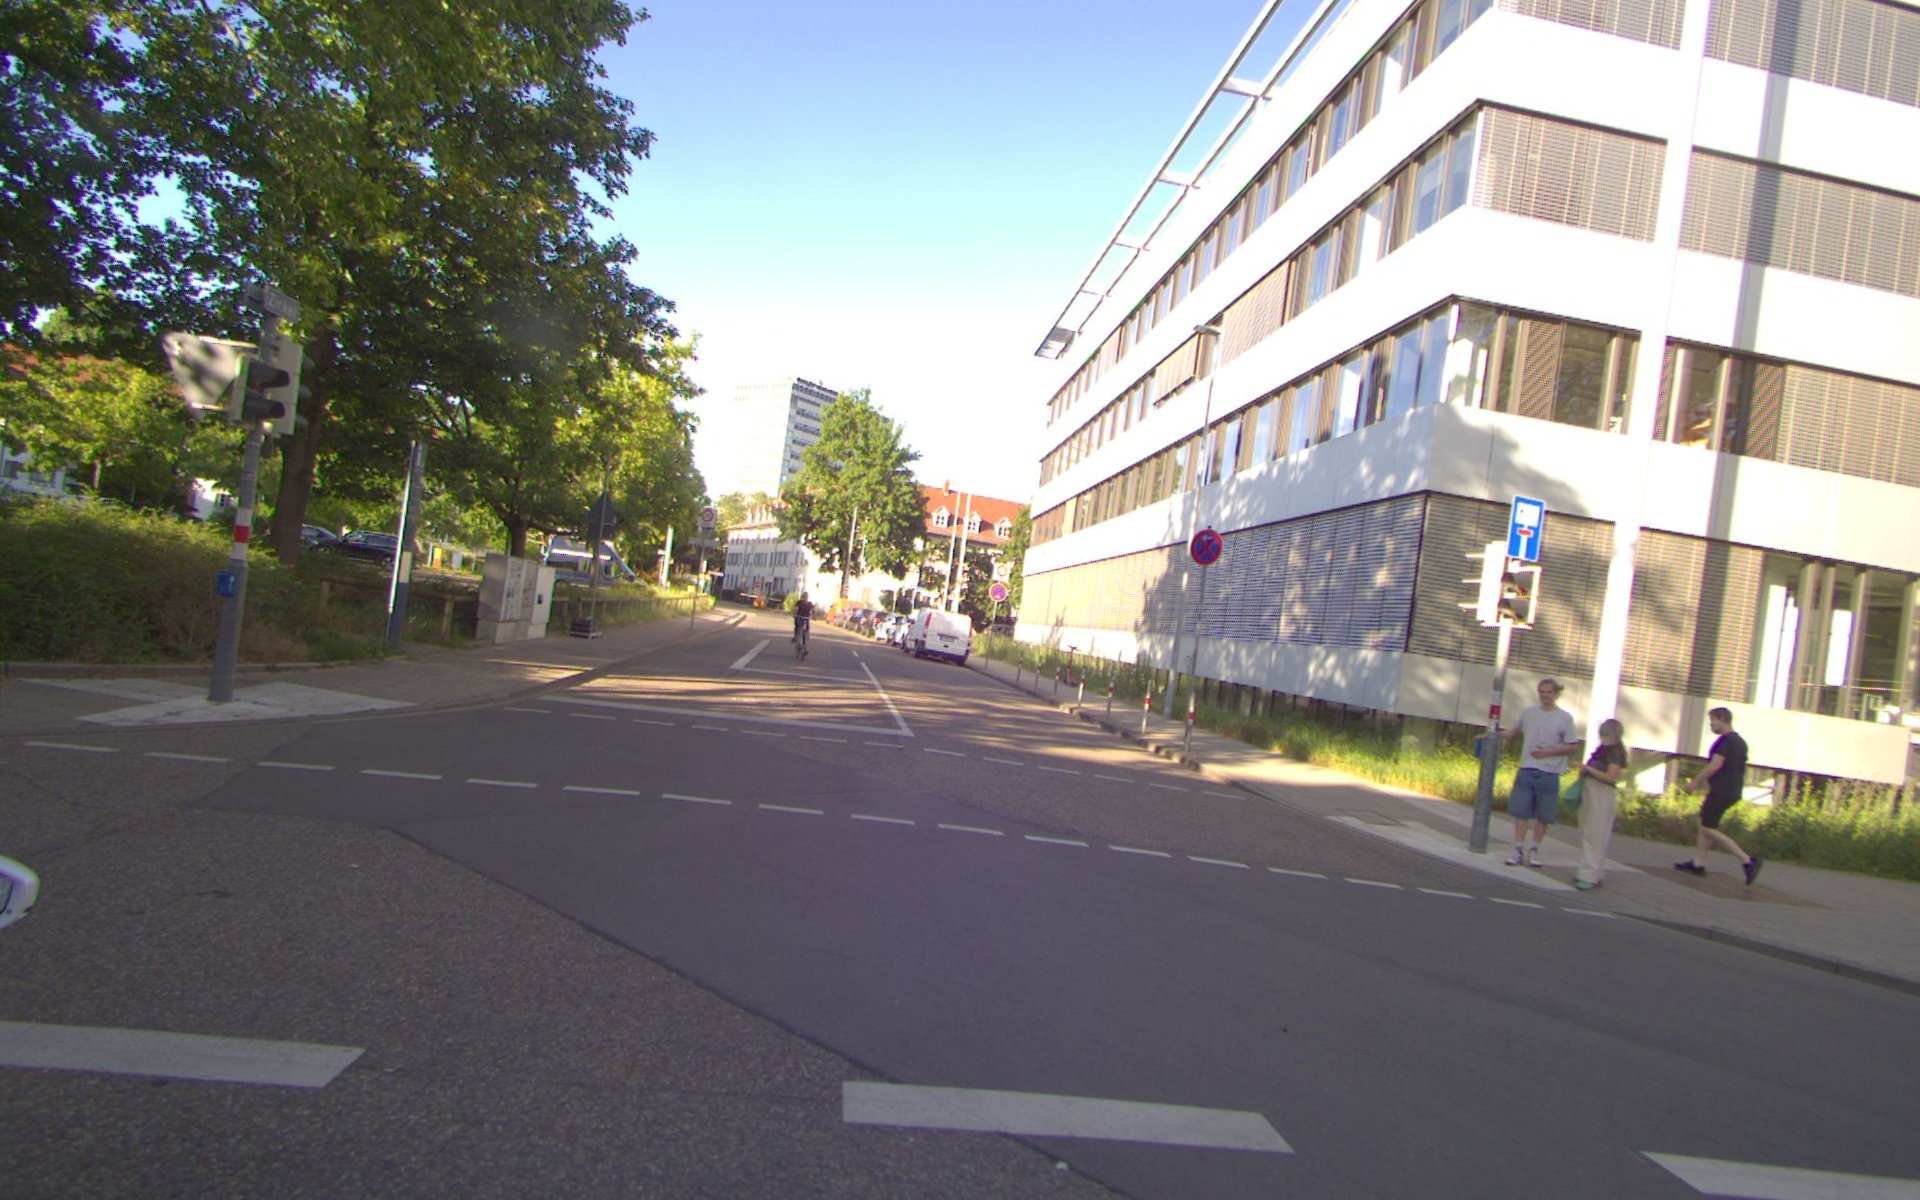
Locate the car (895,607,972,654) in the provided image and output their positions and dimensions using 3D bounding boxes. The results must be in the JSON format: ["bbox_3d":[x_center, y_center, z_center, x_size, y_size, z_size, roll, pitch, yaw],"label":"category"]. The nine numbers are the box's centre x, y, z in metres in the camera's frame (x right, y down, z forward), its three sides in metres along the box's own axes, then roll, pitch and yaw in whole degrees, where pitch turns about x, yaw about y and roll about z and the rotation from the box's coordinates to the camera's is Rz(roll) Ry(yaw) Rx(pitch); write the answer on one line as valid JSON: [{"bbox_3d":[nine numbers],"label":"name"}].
[{"bbox_3d":[-1.979,2.259,75.089,5.050,2.651,1.990,9,1,-20],"label":"car"}]

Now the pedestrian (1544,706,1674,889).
[{"bbox_3d":[6.044,1.821,9.391,0.553,1.542,0.671,8,0,-18],"label":"pedestrian"}]

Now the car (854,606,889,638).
[{"bbox_3d":[-5.027,1.187,56.722,1.603,1.502,3.845,8,-1,-8],"label":"car"}]

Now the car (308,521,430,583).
[{"bbox_3d":[-27.109,-2.154,46.270,4.238,2.113,1.786,8,-1,-8],"label":"car"}]

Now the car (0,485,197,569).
[{"bbox_3d":[-26.822,-2.237,31.445,4.238,1.833,1.786,8,-1,-8],"label":"car"}]

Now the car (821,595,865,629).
[{"bbox_3d":[-7.958,0.777,68.184,2.059,1.809,4.894,8,1,-15],"label":"car"}]

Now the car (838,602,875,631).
[{"bbox_3d":[-6.507,1.001,62.963,1.605,1.508,3.592,8,-1,-15],"label":"car"}]

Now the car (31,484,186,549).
[{"bbox_3d":[-32.291,-3.128,38.277,3.931,1.644,1.924,9,-2,-6],"label":"car"}]

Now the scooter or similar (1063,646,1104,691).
[{"bbox_3d":[3.745,2.067,30.554,0.688,1.193,1.555,8,-1,-9],"label":"scooter or similar"}]

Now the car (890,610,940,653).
[{"bbox_3d":[-1.979,1.302,43.100,1.603,1.502,3.845,8,-1,-8],"label":"car"}]

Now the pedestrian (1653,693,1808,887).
[{"bbox_3d":[8.021,1.947,10.492,0.601,1.792,0.985,8,0,-37],"label":"pedestrian"}]

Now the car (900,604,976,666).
[{"bbox_3d":[-0.897,1.229,37.335,2.074,1.850,4.714,8,-1,-8],"label":"car"}]

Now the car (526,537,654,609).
[{"bbox_3d":[-17.356,-1.219,47.454,5.072,2.603,1.997,8,0,-8],"label":"car"}]

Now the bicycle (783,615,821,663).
[{"bbox_3d":[-3.985,0.965,25.282,0.707,1.029,2.019,7,-1,-12],"label":"bicycle"}]

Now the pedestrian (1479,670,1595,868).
[{"bbox_3d":[5.809,1.686,10.151,0.562,1.861,0.601,8,0,-22],"label":"pedestrian"}]

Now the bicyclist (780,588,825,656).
[{"bbox_3d":[-3.974,0.548,25.287,0.864,1.553,1.085,8,-1,-13],"label":"bicyclist"}]

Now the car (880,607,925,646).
[{"bbox_3d":[-2.770,1.221,47.673,1.603,1.502,3.845,8,-1,-8],"label":"car"}]

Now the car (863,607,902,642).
[{"bbox_3d":[-4.050,1.229,52.289,1.603,1.502,3.845,8,-1,-8],"label":"car"}]
